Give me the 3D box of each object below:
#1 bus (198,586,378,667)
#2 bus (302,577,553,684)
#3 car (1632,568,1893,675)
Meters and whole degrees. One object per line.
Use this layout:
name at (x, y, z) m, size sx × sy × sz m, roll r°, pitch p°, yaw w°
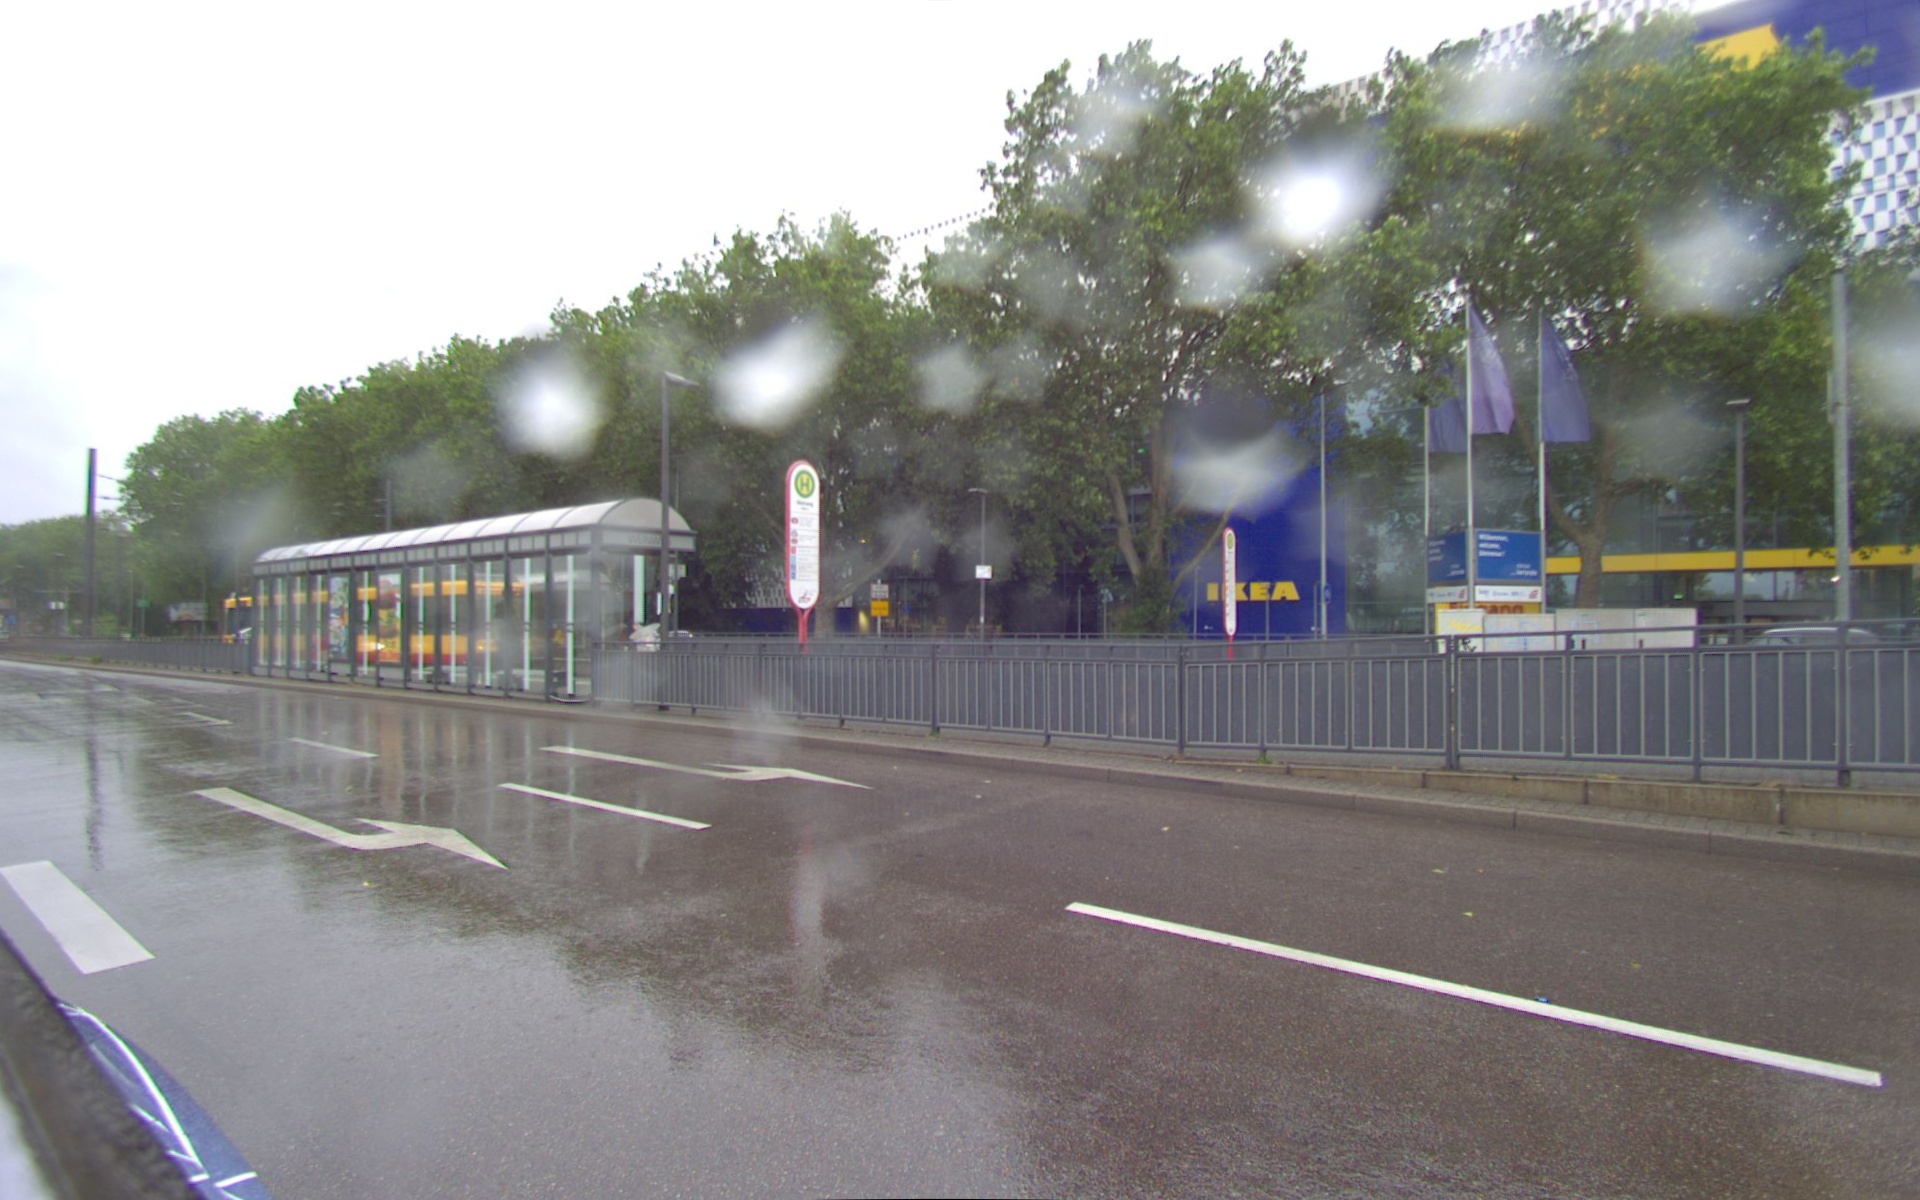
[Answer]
bus at (-31.987, 1.147, 47.679) m, size 15.050 × 3.354 × 2.902 m, roll -1°, pitch 0°, yaw 40°
bus at (-20.440, 1.023, 37.938) m, size 15.052 × 3.354 × 2.901 m, roll -1°, pitch 0°, yaw 40°
car at (16.427, 0.419, 21.025) m, size 3.986 × 2.029 × 1.979 m, roll -1°, pitch 0°, yaw 31°
